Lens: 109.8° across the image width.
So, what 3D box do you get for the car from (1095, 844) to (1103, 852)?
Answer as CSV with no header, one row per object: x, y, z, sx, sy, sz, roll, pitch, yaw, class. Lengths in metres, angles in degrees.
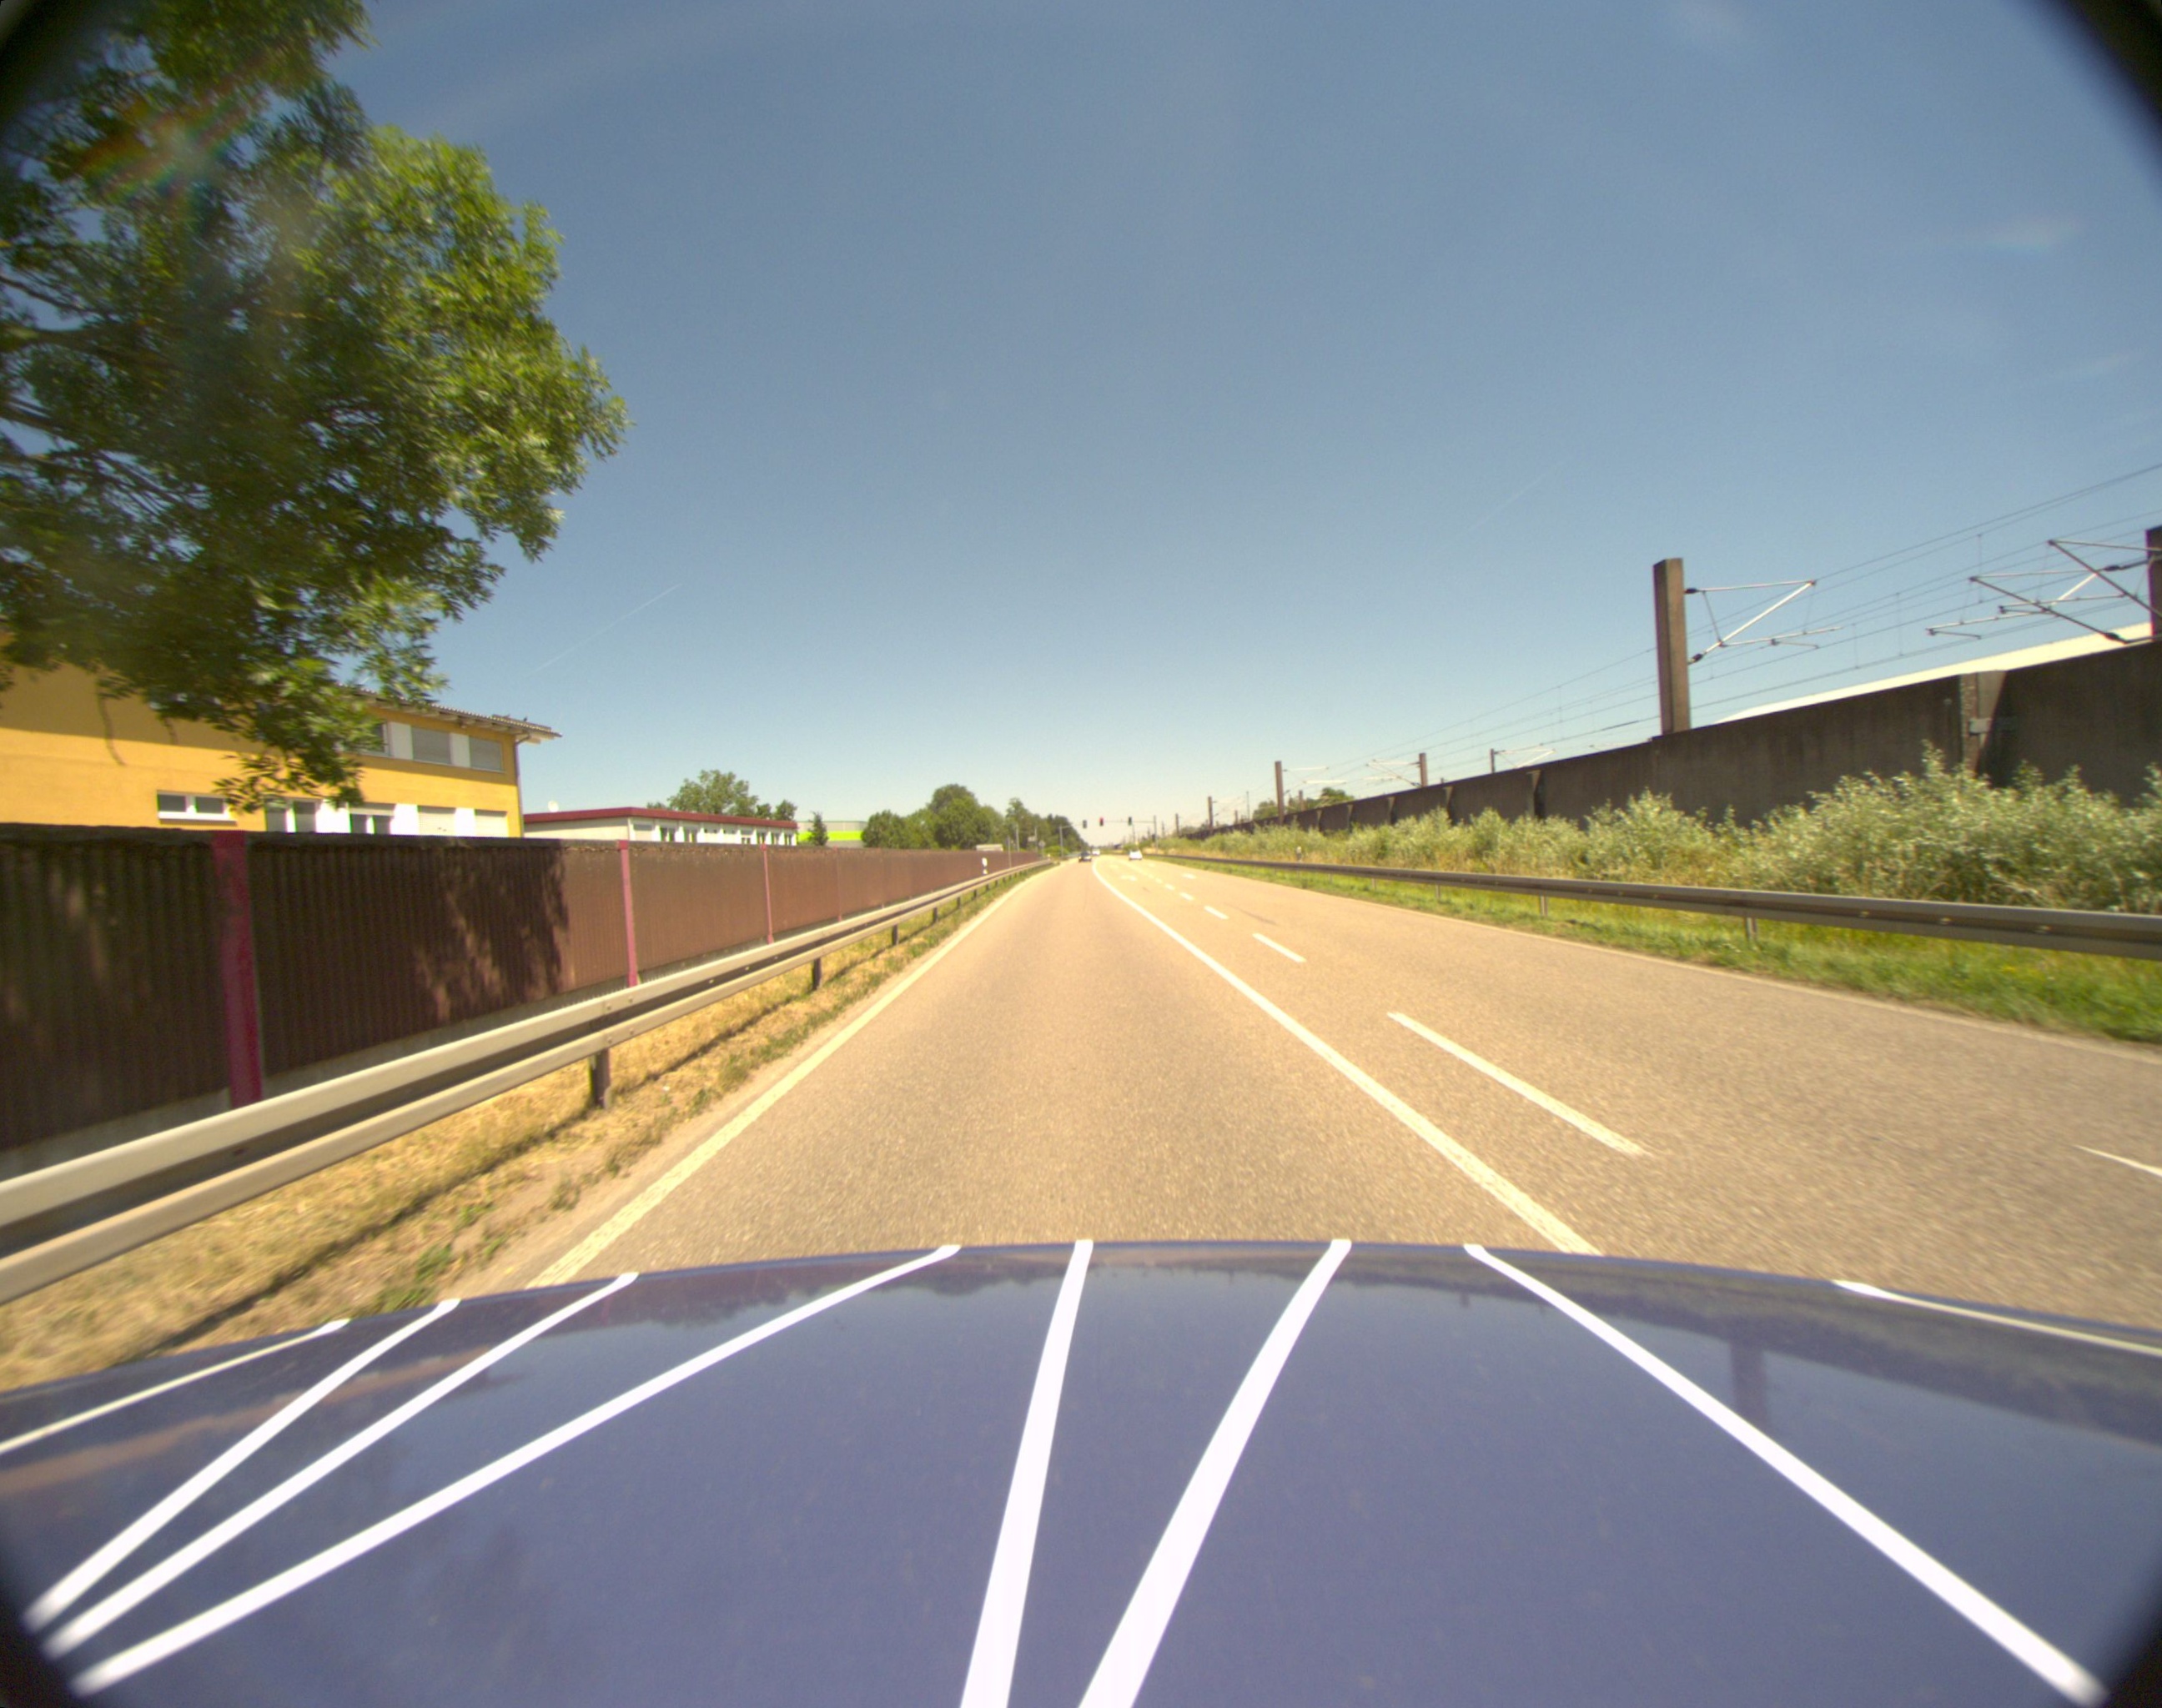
4.716,-1.621,204.536,1.998,2.002,3.999,-3,1,1,car

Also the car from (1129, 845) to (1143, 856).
7.579,-0.467,105.086,1.600,1.466,3.773,-2,1,0,car

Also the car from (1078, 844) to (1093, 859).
0.622,-0.310,106.619,1.998,2.002,3.999,-3,1,0,car

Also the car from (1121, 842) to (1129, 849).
12.330,-2.318,212.361,1.998,2.002,3.999,-3,1,1,car
